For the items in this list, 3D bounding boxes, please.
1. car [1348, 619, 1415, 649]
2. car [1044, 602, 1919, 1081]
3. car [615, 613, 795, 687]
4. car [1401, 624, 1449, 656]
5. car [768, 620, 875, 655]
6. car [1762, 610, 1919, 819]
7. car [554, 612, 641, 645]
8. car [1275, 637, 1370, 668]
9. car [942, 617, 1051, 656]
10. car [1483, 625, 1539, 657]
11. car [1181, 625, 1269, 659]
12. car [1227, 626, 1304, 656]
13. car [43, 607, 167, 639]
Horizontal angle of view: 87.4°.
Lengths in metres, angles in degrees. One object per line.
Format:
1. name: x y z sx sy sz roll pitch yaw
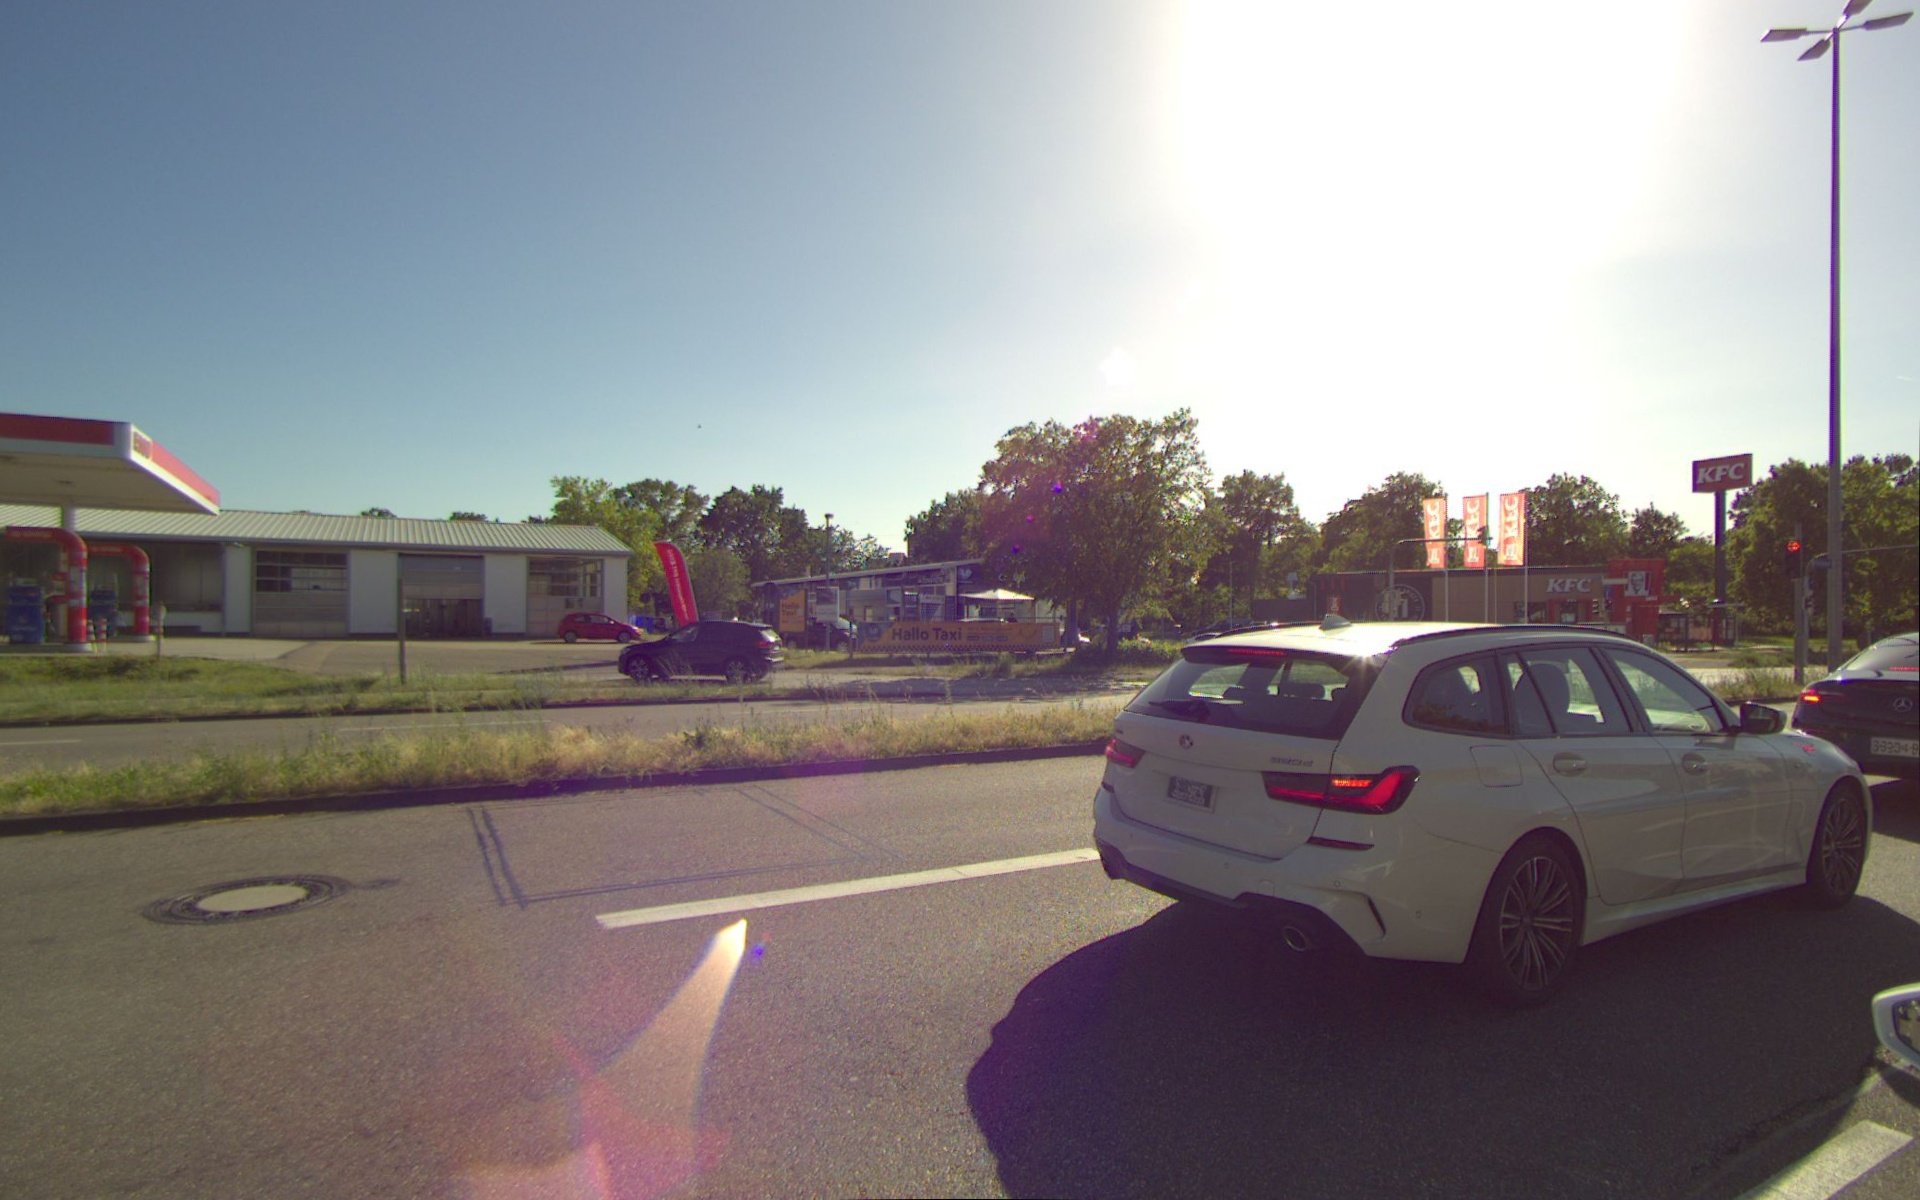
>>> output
1. car: 28.647 2.312 68.317 3.696 1.837 2.001 2 0 4
2. car: 2.809 0.803 5.082 4.541 1.506 1.804 1 -1 -30
3. car: -6.736 1.300 26.760 4.235 1.749 1.809 2 0 4
4. car: 28.462 2.438 61.585 1.896 1.763 4.099 2 0 14
5. car: -5.437 1.431 39.300 3.930 1.193 1.774 2 0 31
6. car: 9.162 0.917 8.871 4.491 1.572 1.803 1 0 -31
7. car: -17.872 1.391 49.559 3.949 1.491 1.521 2 0 -24
8. car: 17.422 2.504 48.430 1.850 1.268 4.062 2 0 -31
9. car: 1.483 1.472 40.714 3.943 1.461 1.989 2 0 -23
10. car: 33.102 2.414 60.432 1.896 1.763 4.099 2 0 14
11. car: 14.359 2.257 54.650 1.914 1.600 4.599 2 0 -31
12. car: 17.075 2.277 56.348 1.912 1.472 3.938 2 0 -28
13. car: -35.950 0.971 42.361 3.688 1.203 1.667 2 0 -30
